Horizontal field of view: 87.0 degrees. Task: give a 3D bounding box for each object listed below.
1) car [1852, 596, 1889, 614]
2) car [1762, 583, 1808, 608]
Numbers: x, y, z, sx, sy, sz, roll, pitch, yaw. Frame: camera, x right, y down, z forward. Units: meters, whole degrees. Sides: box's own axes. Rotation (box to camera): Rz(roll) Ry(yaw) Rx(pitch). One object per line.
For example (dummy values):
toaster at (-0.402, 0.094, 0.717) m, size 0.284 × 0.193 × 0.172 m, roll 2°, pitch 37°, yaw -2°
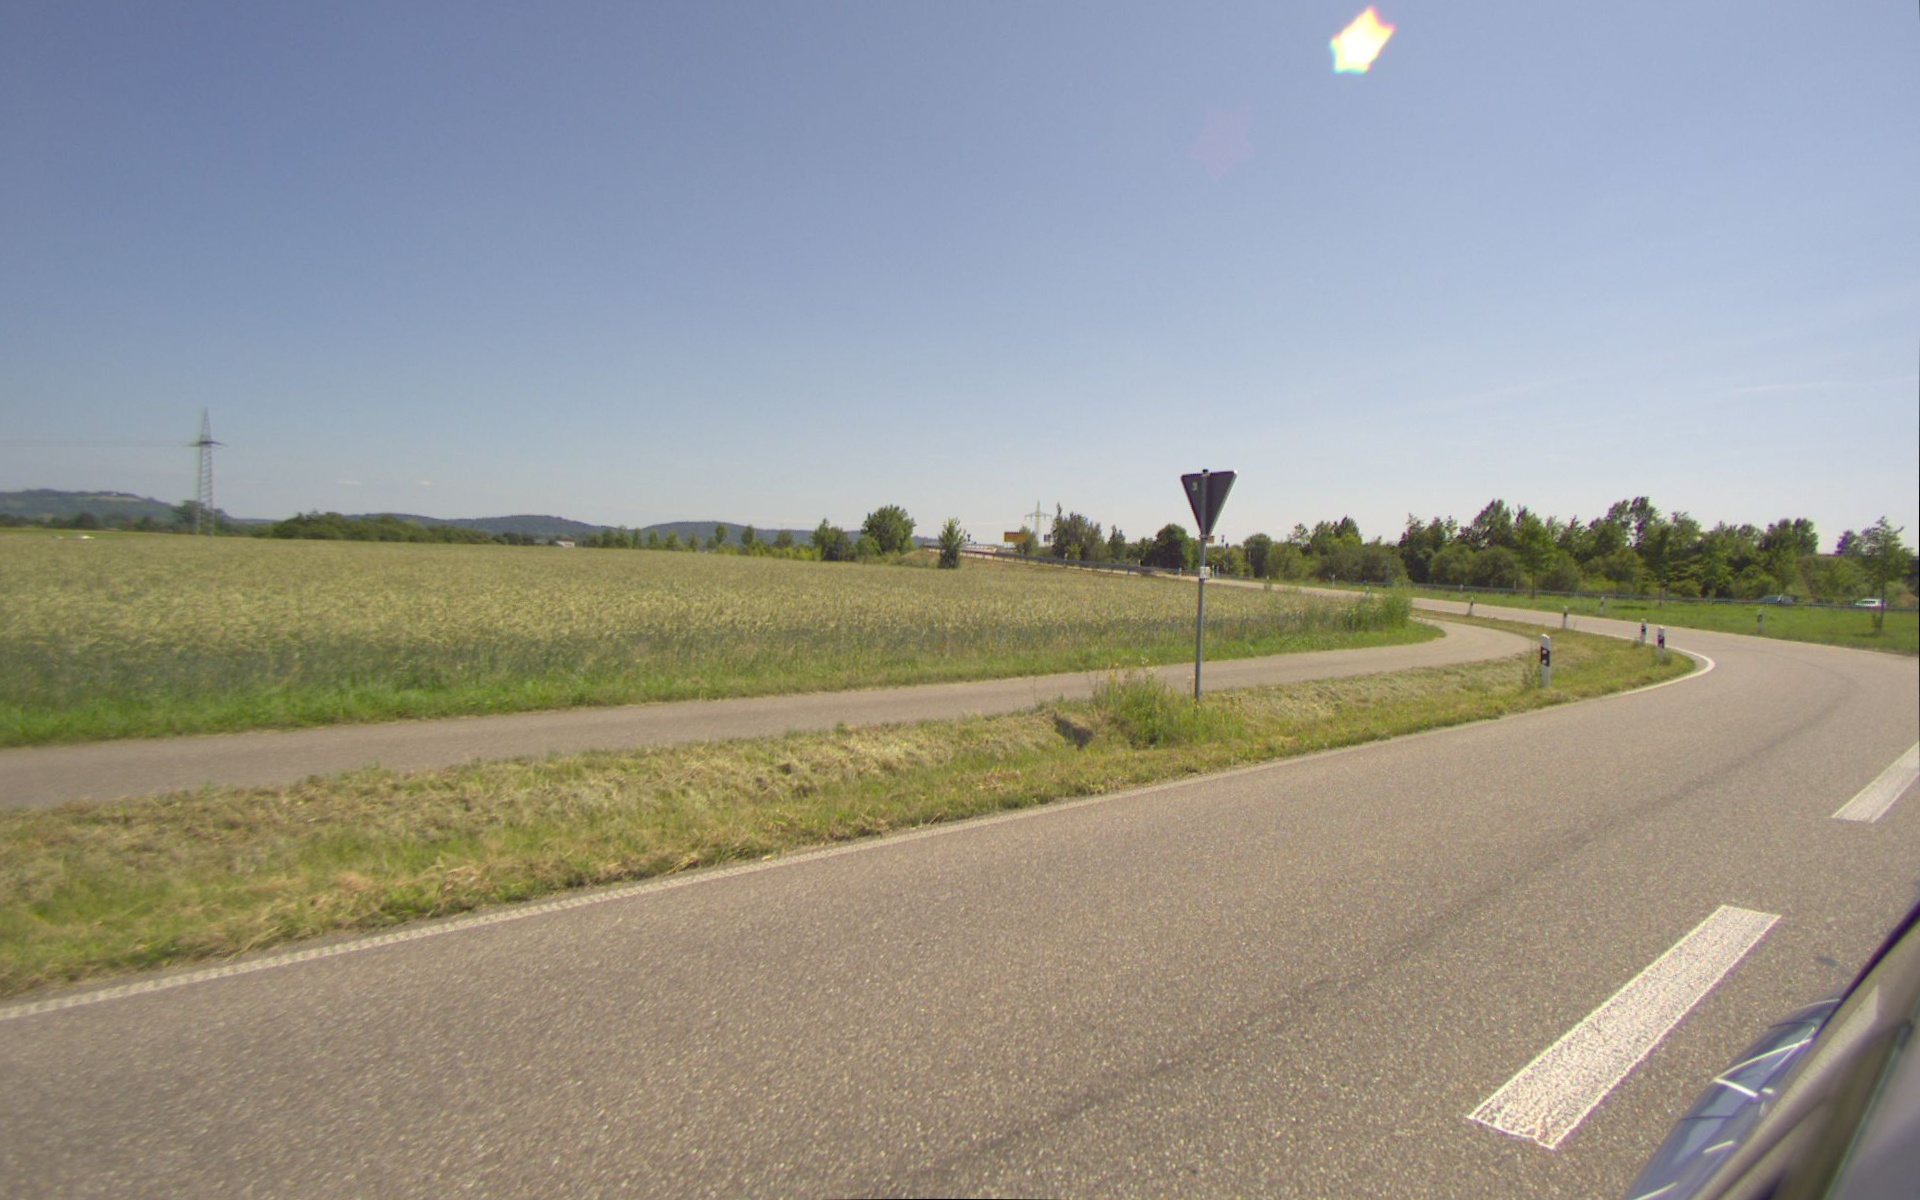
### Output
car at (90.743, 0.476, 100.851) m, size 3.924 × 1.705 × 2.000 m, roll 0°, pitch 1°, yaw -36°
car at (71.369, -0.387, 87.575) m, size 3.647 × 2.038 × 1.799 m, roll 1°, pitch 3°, yaw -30°
